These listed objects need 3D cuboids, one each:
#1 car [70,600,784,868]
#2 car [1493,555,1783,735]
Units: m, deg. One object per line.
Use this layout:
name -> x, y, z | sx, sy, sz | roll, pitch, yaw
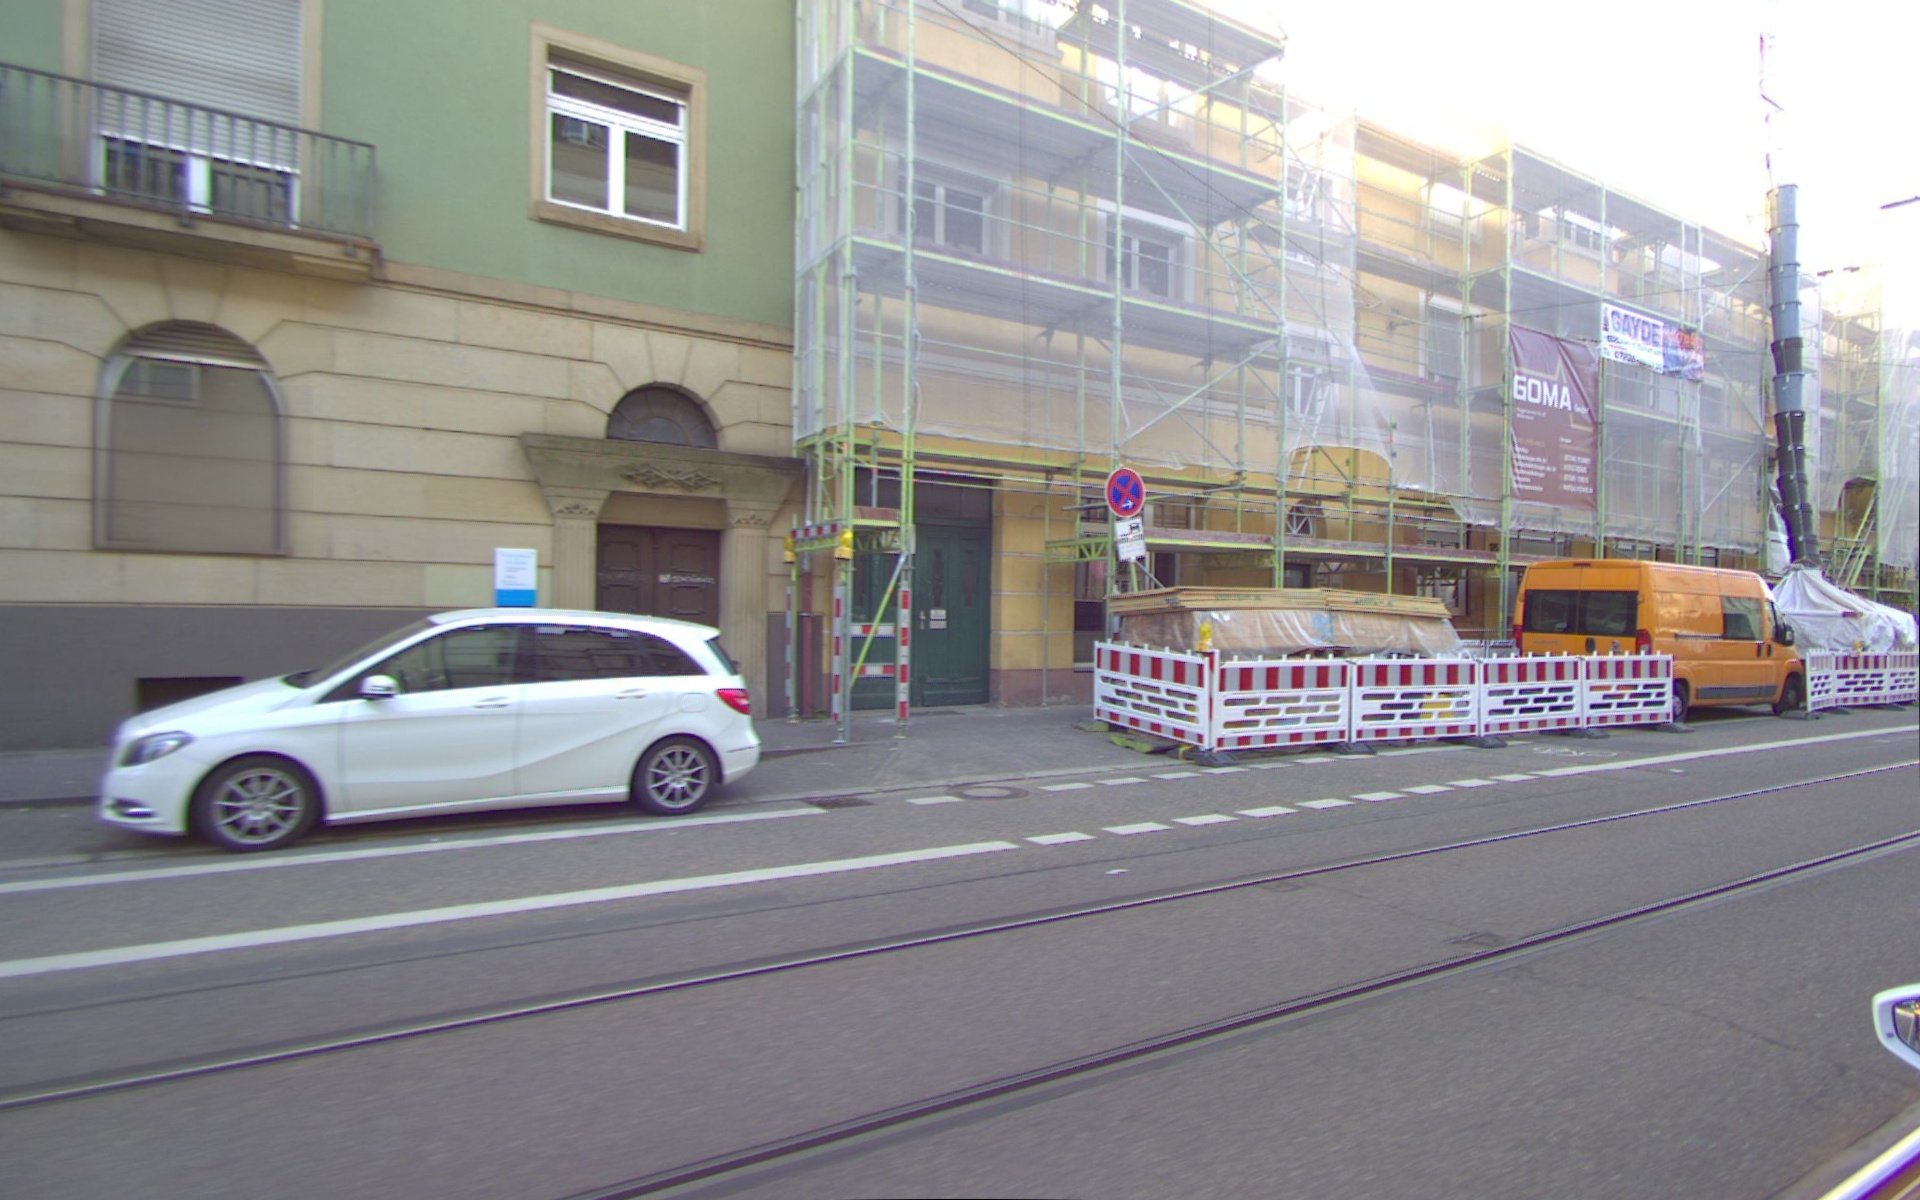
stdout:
car -> -3.708, 0.821, 7.682 | 4.335, 1.523, 1.710 | 1, 1, -30
car -> 11.050, 0.664, 16.269 | 4.926, 2.508, 2.132 | 1, 0, -33
